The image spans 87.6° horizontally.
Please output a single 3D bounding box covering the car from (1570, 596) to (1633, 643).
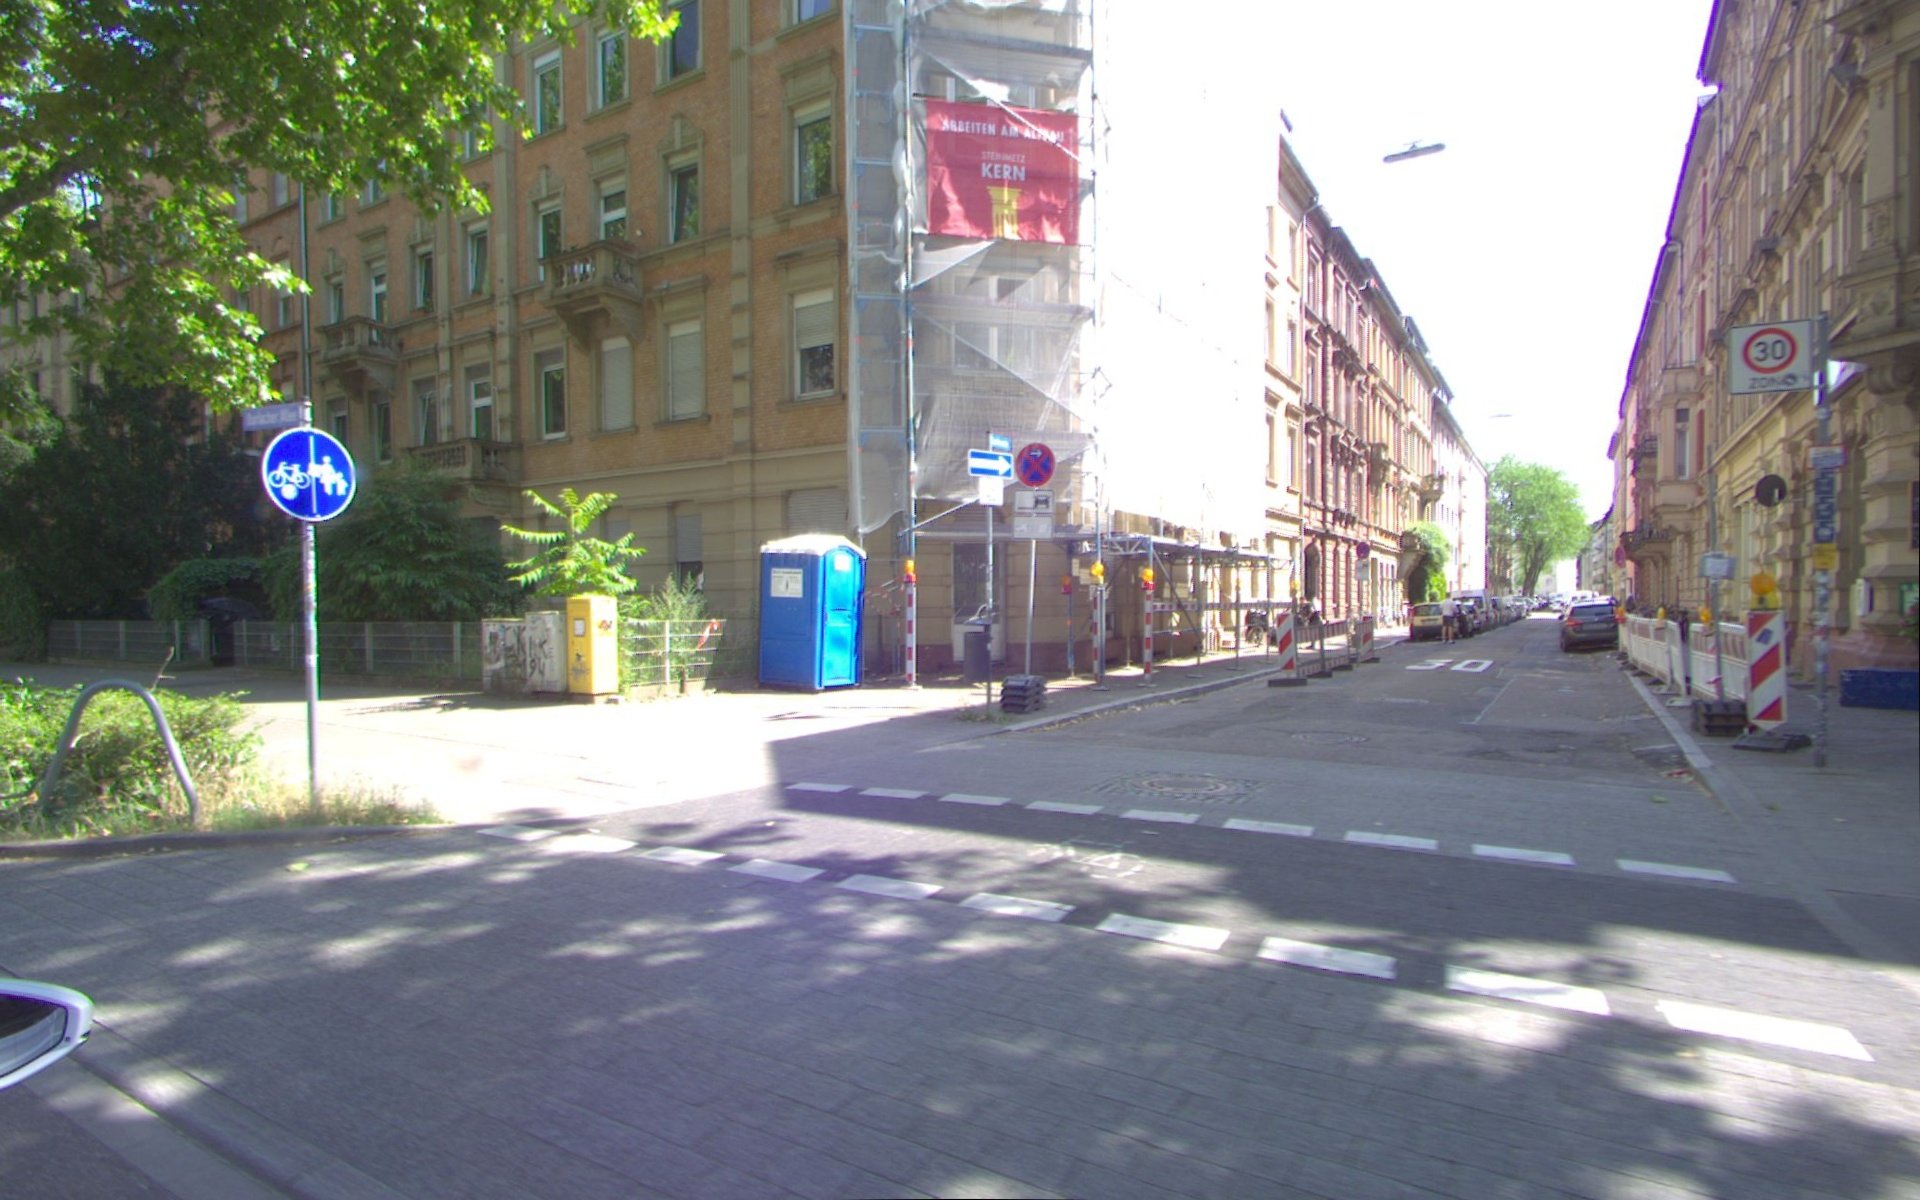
[{"bbox_3d":[25.196,0.737,39.452,1.971,1.762,3.979,0,0,31],"label":"car"}]

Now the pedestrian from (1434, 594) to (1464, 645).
[{"bbox_3d":[17.659,0.697,36.173,0.922,1.822,1.034,0,0,29],"label":"pedestrian"}]

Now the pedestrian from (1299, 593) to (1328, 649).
[{"bbox_3d":[11.176,0.669,31.685,0.843,1.748,0.834,0,0,19],"label":"pedestrian"}]

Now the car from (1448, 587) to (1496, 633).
[{"bbox_3d":[27.744,0.526,54.200,1.886,2.405,4.224,0,0,33],"label":"car"}]

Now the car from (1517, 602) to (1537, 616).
[{"bbox_3d":[57.766,0.917,101.982,1.646,1.420,3.343,0,0,32],"label":"car"}]

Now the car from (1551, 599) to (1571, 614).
[{"bbox_3d":[68.655,0.728,114.355,1.971,1.762,3.979,0,0,31],"label":"car"}]

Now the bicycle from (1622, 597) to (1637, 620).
[{"bbox_3d":[29.474,0.367,44.100,0.531,0.991,1.302,0,0,34],"label":"bicycle"}]

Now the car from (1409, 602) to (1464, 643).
[{"bbox_3d":[19.118,0.868,40.128,1.702,1.549,3.478,0,0,30],"label":"car"}]

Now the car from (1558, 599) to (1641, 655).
[{"bbox_3d":[19.199,0.756,30.194,1.971,1.572,3.979,0,0,31],"label":"car"}]

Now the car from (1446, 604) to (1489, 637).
[{"bbox_3d":[25.254,0.989,49.807,1.702,1.549,3.478,0,0,30],"label":"car"}]

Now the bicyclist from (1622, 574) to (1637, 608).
[{"bbox_3d":[29.494,-0.394,44.127,0.525,1.473,0.458,0,1,34],"label":"bicyclist"}]

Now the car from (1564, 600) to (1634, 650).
[{"bbox_3d":[22.528,0.829,35.415,1.971,1.661,3.979,0,0,31],"label":"car"}]

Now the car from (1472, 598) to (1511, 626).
[{"bbox_3d":[33.816,0.726,63.686,1.886,1.732,4.139,0,0,33],"label":"car"}]

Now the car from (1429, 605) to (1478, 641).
[{"bbox_3d":[22.078,0.996,44.753,1.702,1.549,3.478,0,0,30],"label":"car"}]

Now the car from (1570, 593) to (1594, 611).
[{"bbox_3d":[63.077,0.179,101.610,1.971,1.762,3.979,0,0,31],"label":"car"}]

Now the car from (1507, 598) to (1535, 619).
[{"bbox_3d":[47.575,0.690,84.954,1.886,1.732,4.140,0,0,32],"label":"car"}]
